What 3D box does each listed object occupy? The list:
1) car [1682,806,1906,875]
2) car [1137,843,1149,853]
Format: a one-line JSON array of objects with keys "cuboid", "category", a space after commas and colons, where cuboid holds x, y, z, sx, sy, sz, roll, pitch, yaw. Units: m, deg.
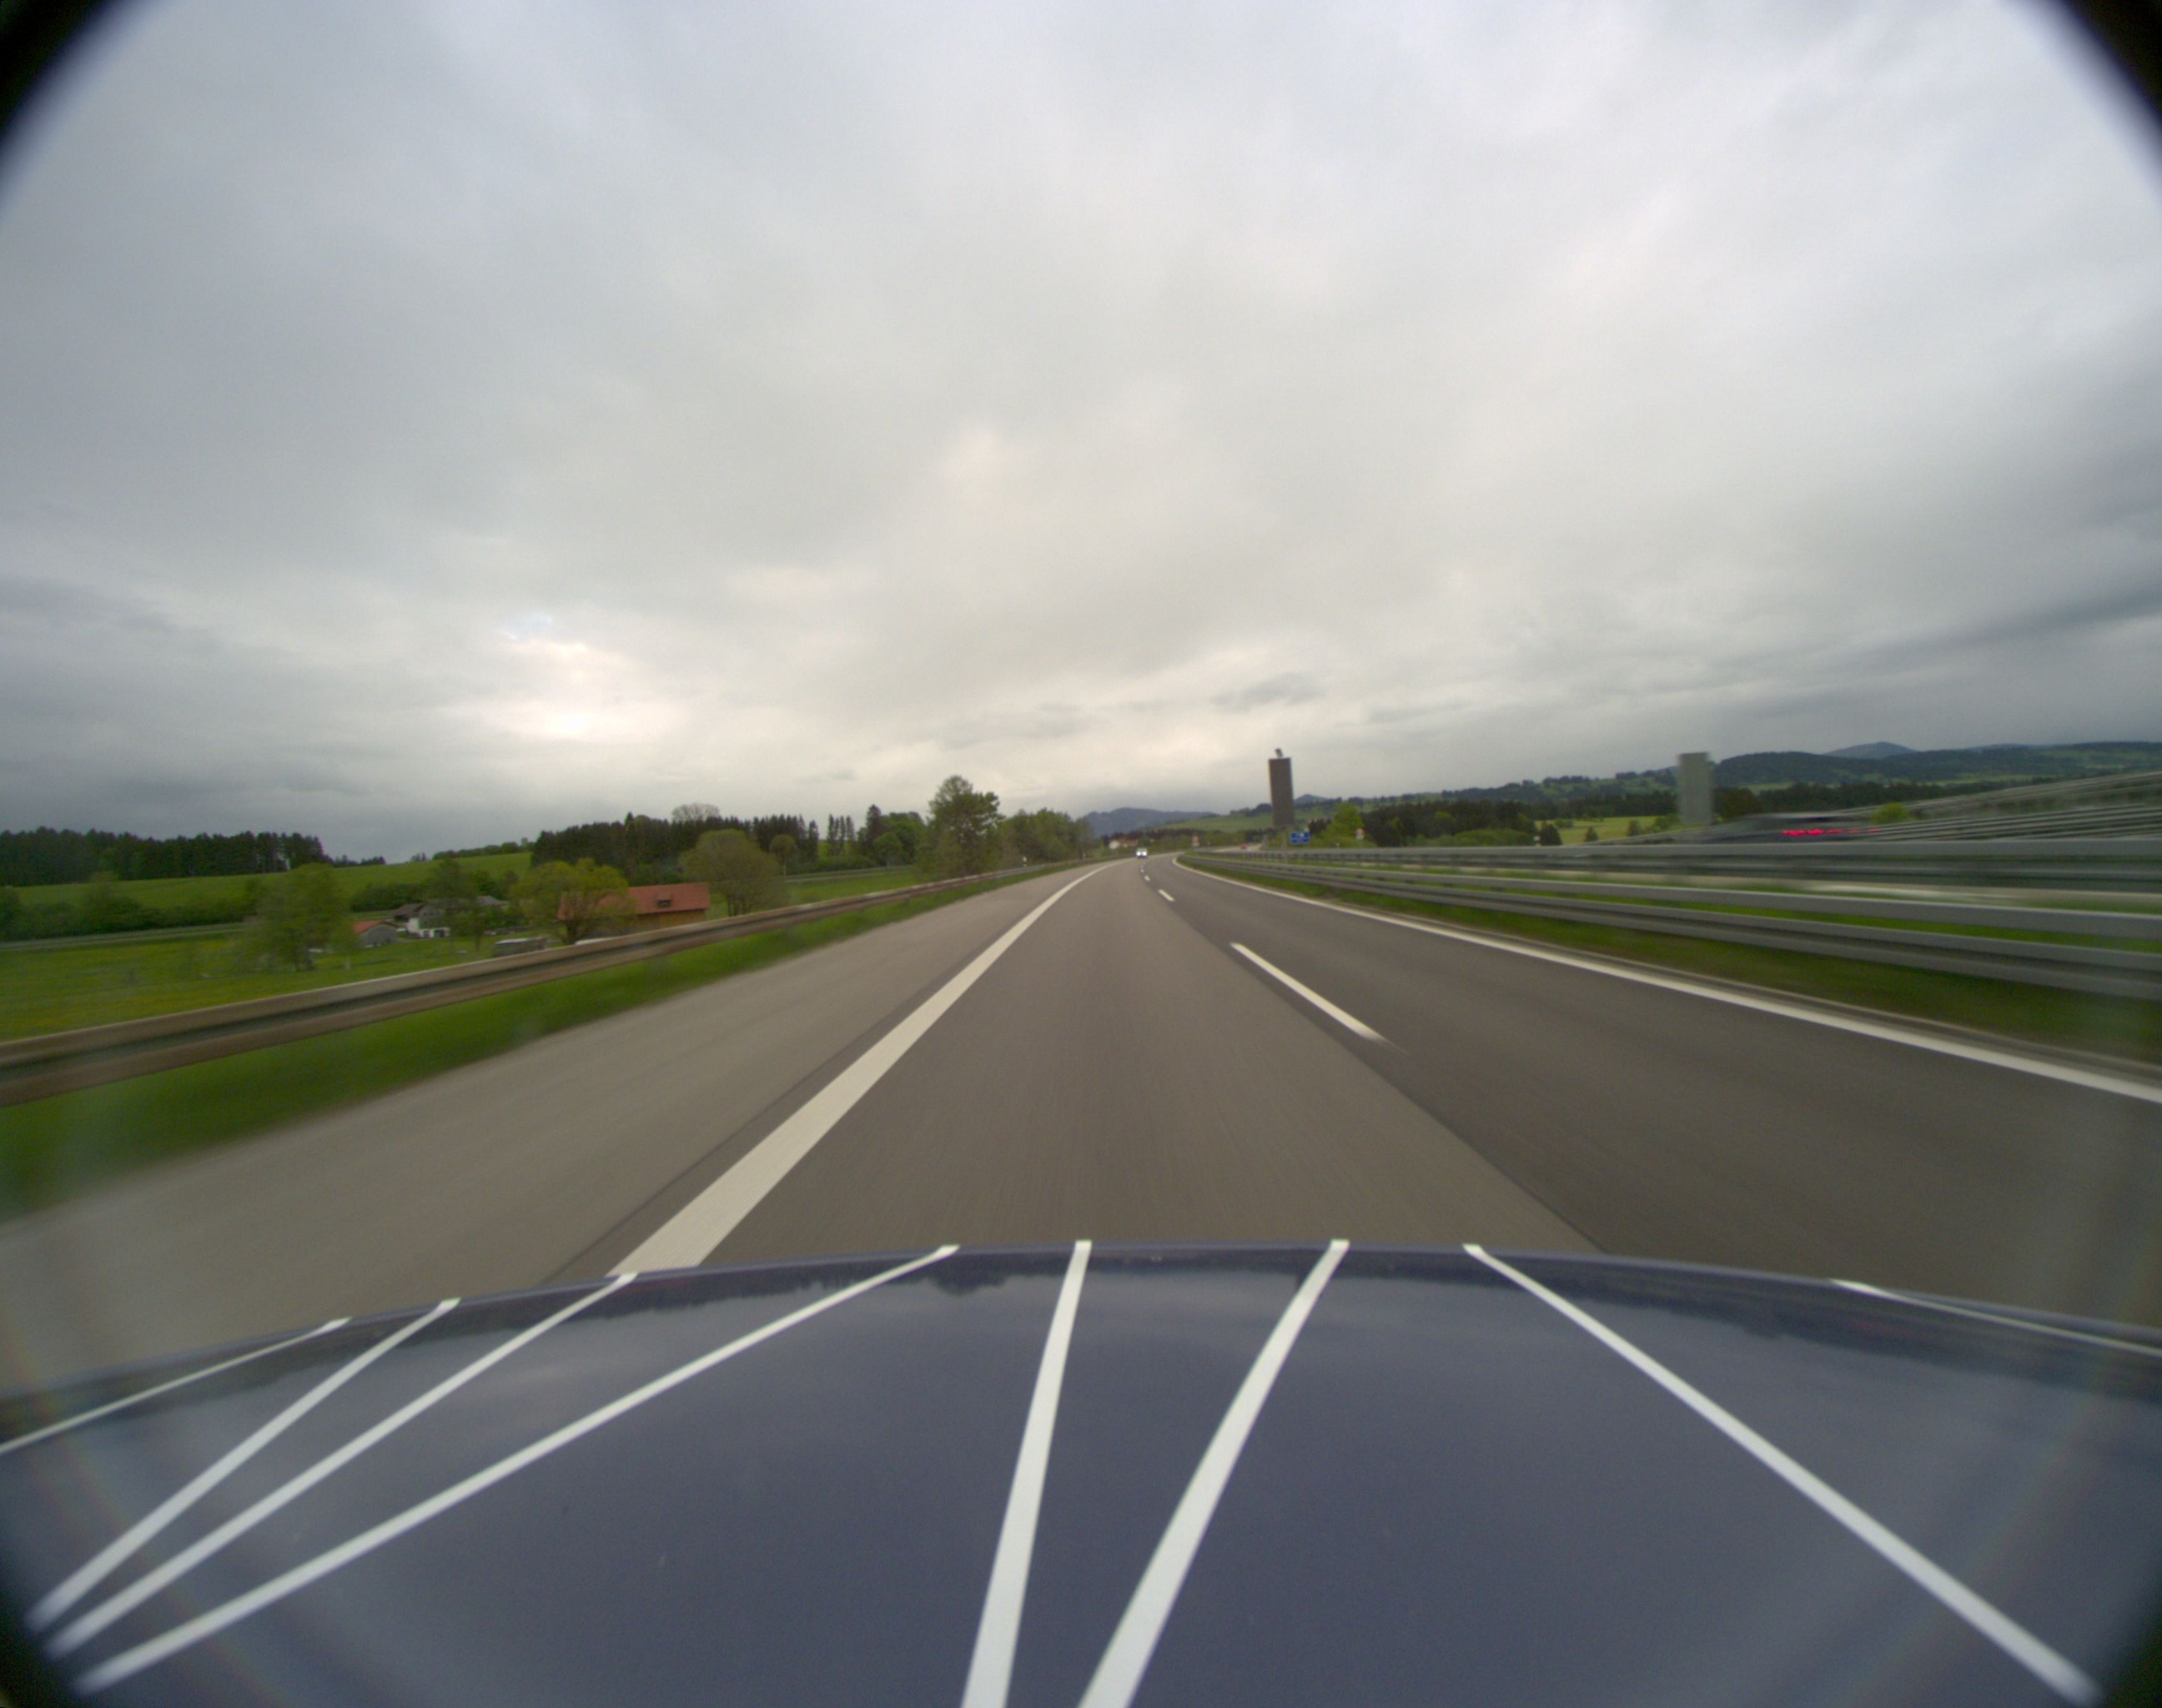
[{"cuboid": [17.914, -0.305, 19.411, 1.998, 1.409, 4.001, -5, 0, 3], "category": "car"}, {"cuboid": [12.123, -1.113, 148.655, 2.020, 1.899, 4.222, -2, 0, 6], "category": "car"}]
